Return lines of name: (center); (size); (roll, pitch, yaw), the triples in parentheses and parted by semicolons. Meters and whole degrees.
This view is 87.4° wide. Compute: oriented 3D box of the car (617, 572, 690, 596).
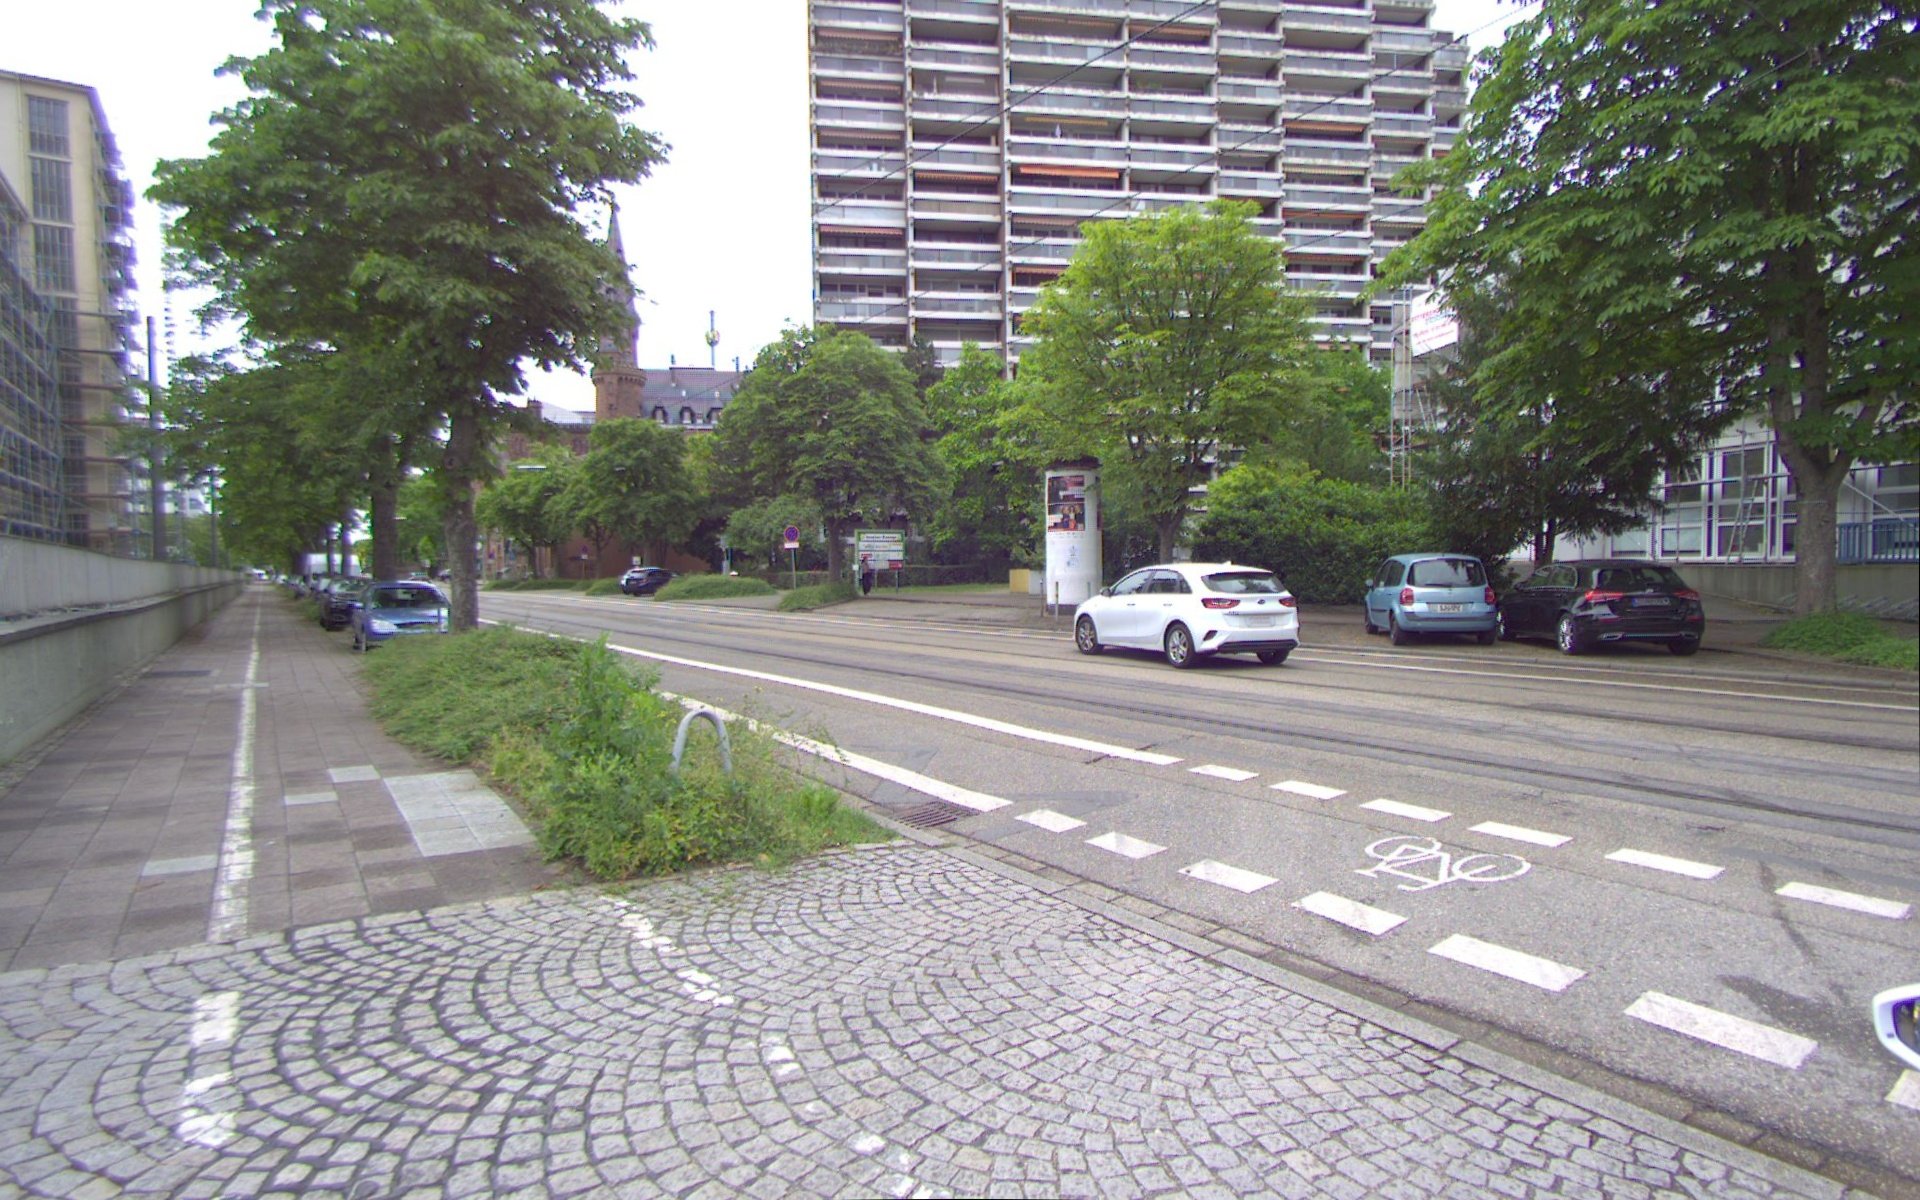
car: (-16.490, -0.866, 54.125); (3.524, 1.222, 1.504); (-1, 2, -5)

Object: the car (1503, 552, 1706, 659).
car: (10.159, 0.049, 16.115); (1.586, 1.531, 3.338); (0, 1, 11)

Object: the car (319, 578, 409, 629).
car: (-17.380, 0.050, 29.204); (1.980, 1.328, 3.961); (-2, 2, -35)

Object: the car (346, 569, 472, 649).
car: (-11.198, 0.111, 20.293); (1.815, 1.437, 3.960); (-2, 2, -35)

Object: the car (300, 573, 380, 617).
car: (-20.227, -0.204, 32.698); (1.980, 1.328, 3.961); (-2, 2, -35)

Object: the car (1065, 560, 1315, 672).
car: (3.327, 0.131, 15.316); (1.756, 1.452, 3.956); (-2, 3, -23)

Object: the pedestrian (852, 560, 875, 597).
pedestrian: (-4.057, -0.923, 42.366); (0.515, 1.548, 0.839); (1, 3, 43)

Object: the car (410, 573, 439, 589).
car: (-50.201, -1.790, 94.085); (1.806, 1.510, 4.210); (-2, 2, -37)

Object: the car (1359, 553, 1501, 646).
car: (8.560, -0.059, 18.579); (1.586, 1.558, 3.338); (0, 2, 11)
